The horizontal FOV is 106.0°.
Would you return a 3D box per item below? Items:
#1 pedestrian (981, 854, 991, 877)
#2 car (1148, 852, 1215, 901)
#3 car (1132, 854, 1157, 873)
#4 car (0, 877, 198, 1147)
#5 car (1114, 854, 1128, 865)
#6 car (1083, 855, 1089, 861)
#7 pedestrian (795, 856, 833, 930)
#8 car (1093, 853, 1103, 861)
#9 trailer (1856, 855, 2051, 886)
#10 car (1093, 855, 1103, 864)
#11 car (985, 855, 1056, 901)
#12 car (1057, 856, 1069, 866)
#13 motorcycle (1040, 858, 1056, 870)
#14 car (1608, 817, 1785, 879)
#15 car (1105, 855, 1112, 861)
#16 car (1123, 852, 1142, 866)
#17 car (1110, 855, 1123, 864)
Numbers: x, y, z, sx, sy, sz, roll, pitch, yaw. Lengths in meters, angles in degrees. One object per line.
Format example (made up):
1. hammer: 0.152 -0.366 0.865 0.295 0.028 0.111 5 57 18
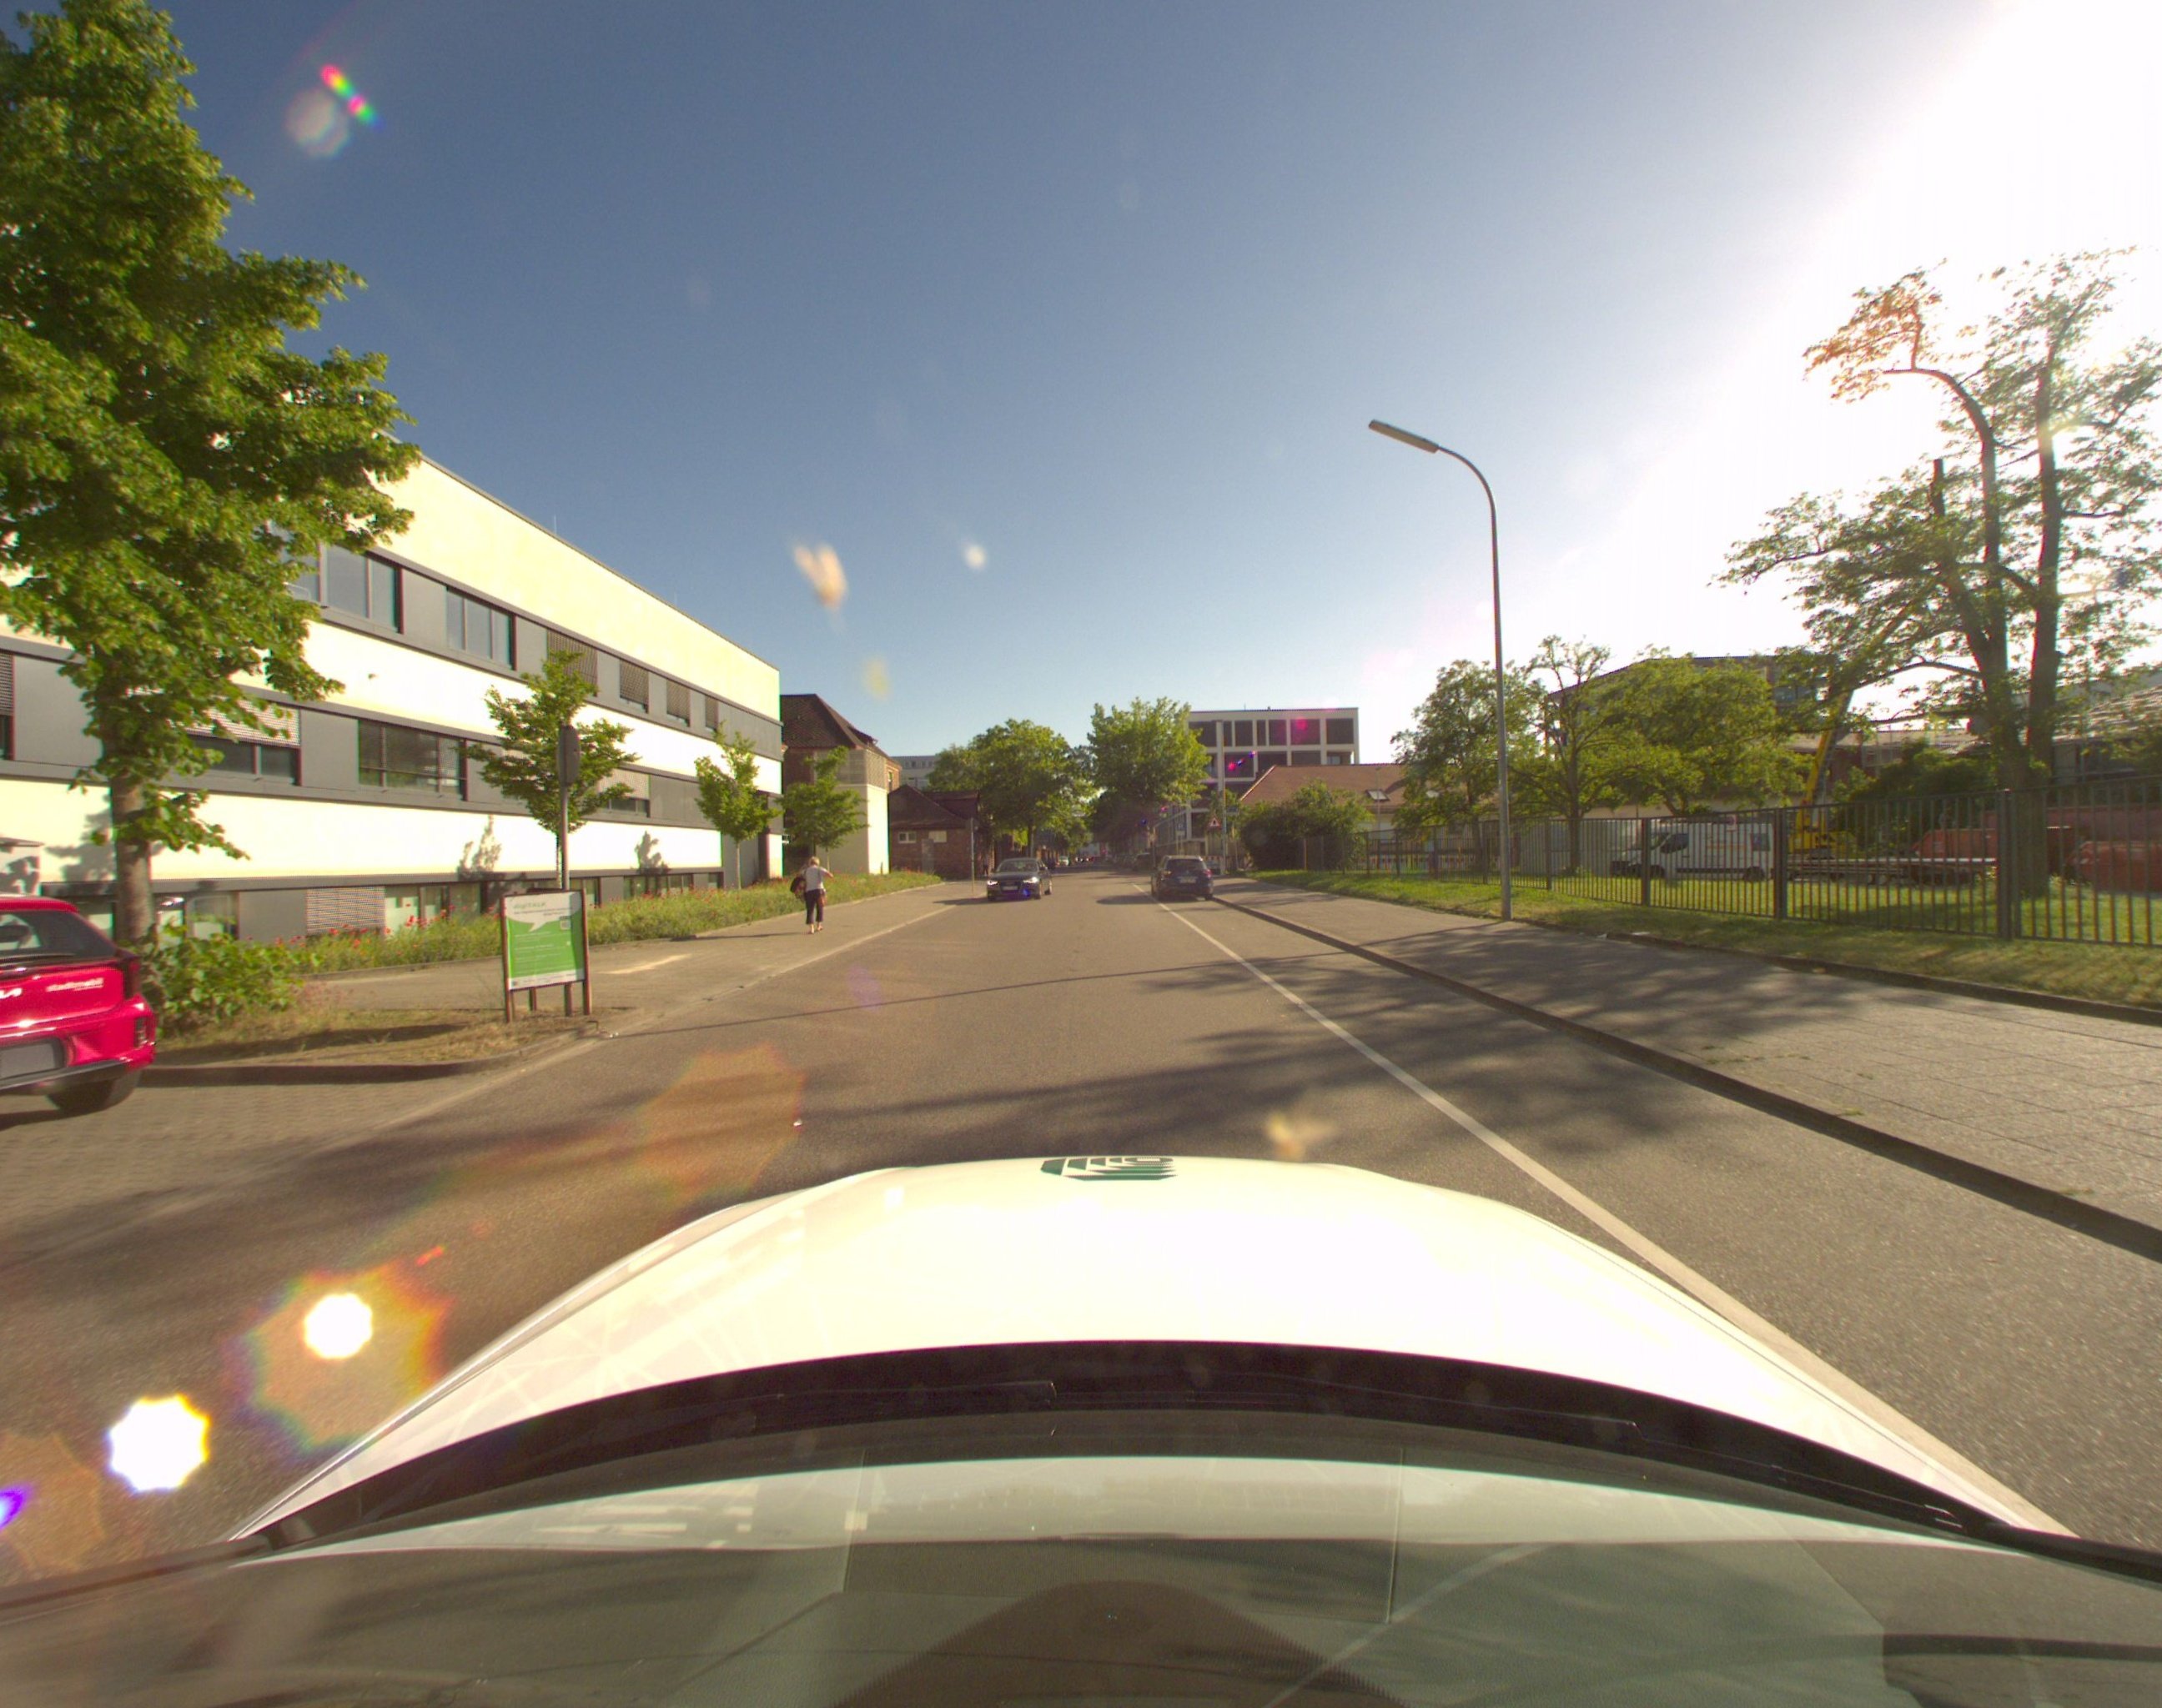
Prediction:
1. pedestrian: -6.536 0.766 55.892 0.519 1.562 1.096 -1 0 0
2. car: 3.299 0.703 27.467 1.811 1.453 4.216 -2 0 2
3. car: 5.179 0.736 67.215 1.697 1.468 4.789 -1 0 0
4. car: -7.808 0.900 4.855 3.615 1.469 1.617 0 0 7
5. car: 5.751 0.799 117.447 1.943 1.578 3.837 -1 0 1
6. car: 1.240 1.031 203.564 1.648 1.530 4.000 -1 0 1
7. pedestrian: -5.672 0.815 17.315 0.536 1.524 0.607 -2 0 2
8. car: 3.289 0.530 157.416 1.882 1.400 3.838 -1 0 1
9. trailer: 30.089 0.519 28.377 1.886 0.919 5.122 -1 0 9
10. car: 3.314 1.052 157.386 1.761 1.548 4.065 -2 0 -1
11. car: -2.104 0.816 29.587 1.753 1.442 4.545 -2 0 6
12. car: -2.829 1.150 128.252 1.761 1.487 3.999 -2 0 -1
13. motorcycle: -3.435 1.027 84.955 0.570 1.276 2.135 -2 0 34
14. car: 24.005 -0.241 31.921 5.257 2.202 2.004 -1 1 6
15. car: 6.737 1.010 198.491 1.580 1.400 3.837 -1 0 2
16. car: 5.590 0.561 88.496 1.761 1.440 3.999 -2 0 -1
17. car: 5.762 0.872 133.219 1.986 1.465 3.837 -1 0 1
